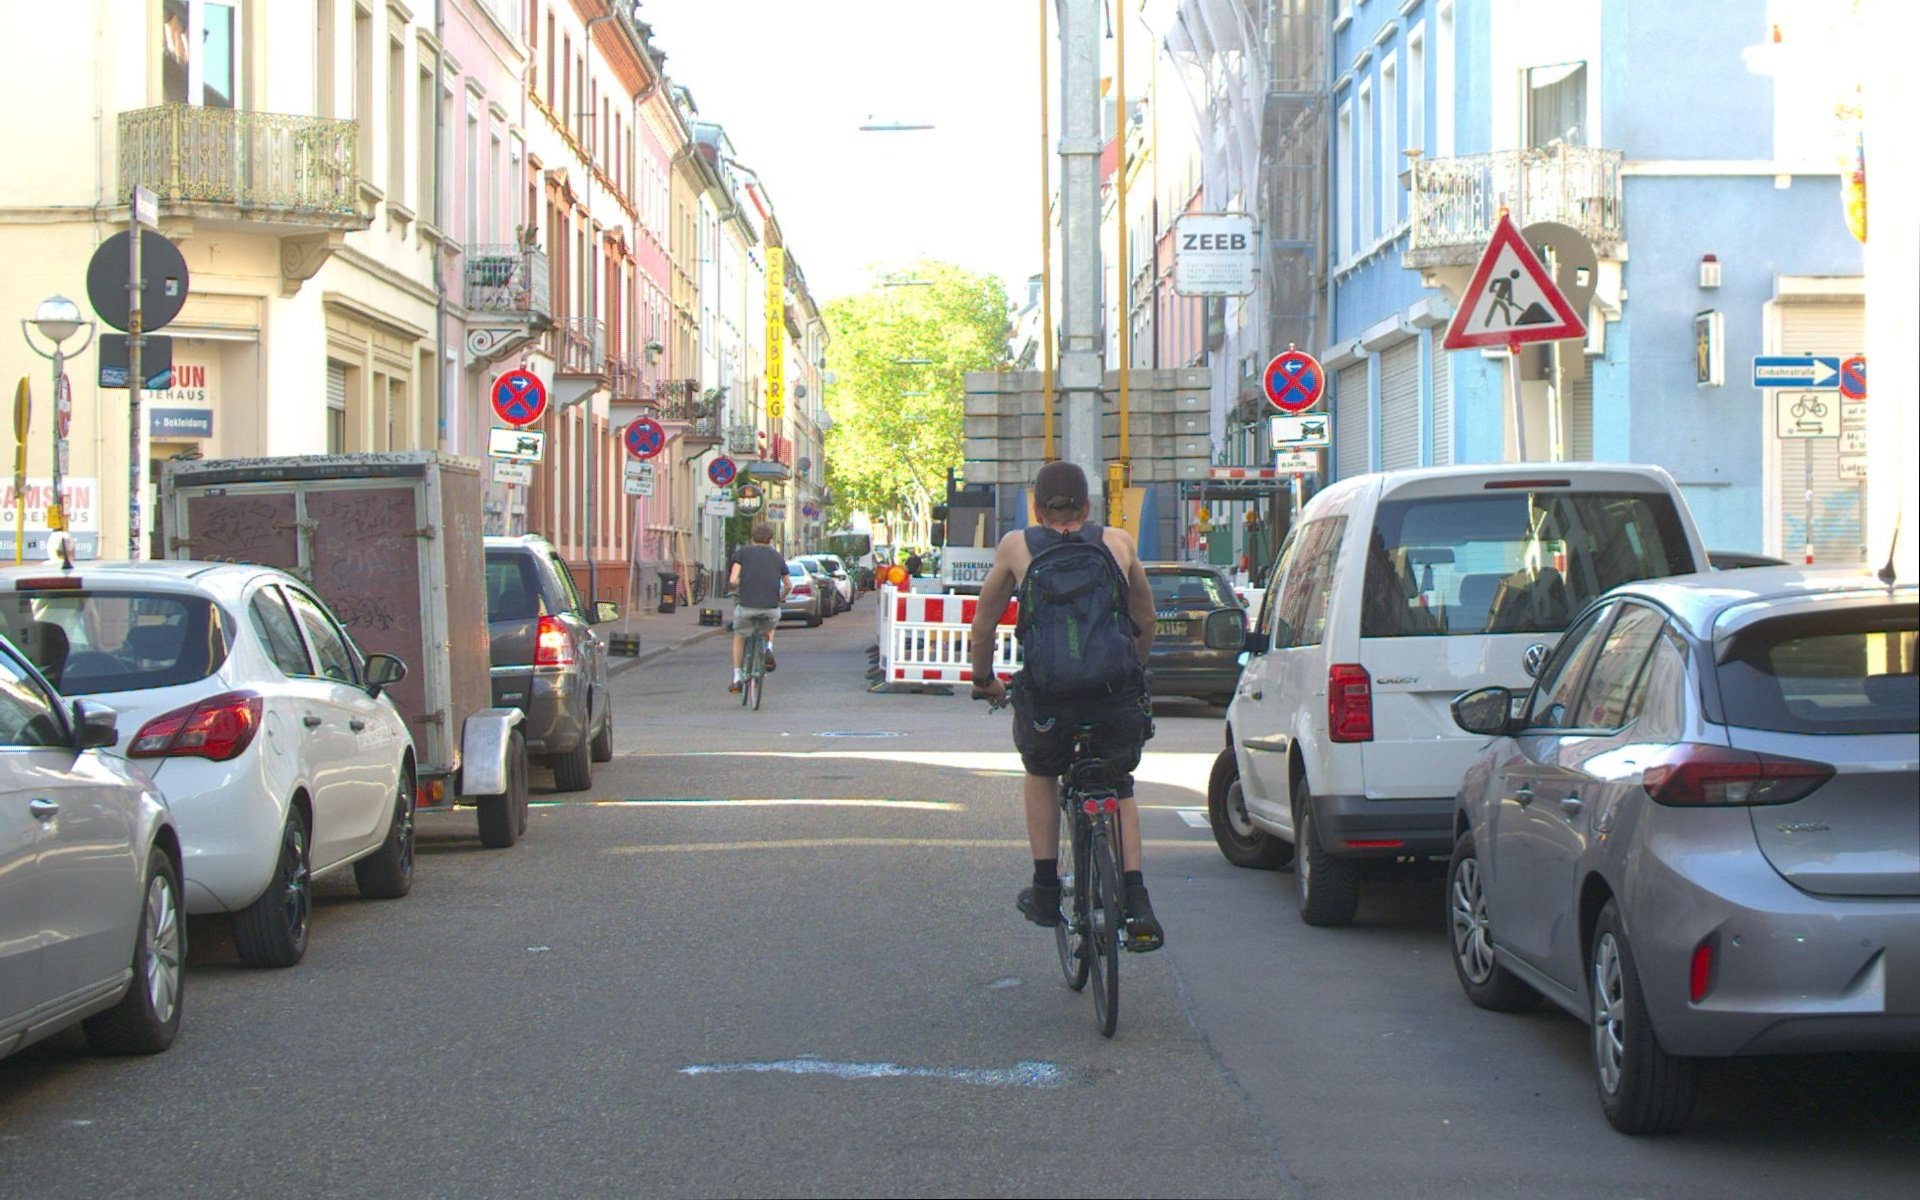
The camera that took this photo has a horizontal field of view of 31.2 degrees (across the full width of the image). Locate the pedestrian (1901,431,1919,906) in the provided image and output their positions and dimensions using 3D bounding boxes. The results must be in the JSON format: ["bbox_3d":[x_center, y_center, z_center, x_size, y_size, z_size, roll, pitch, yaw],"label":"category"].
[{"bbox_3d":[4.381,0.292,14.364,0.644,2.007,0.764,1,0,-1],"label":"pedestrian"}]

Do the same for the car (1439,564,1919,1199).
[{"bbox_3d":[2.509,0.644,9.935,1.750,1.481,3.799,-1,0,1],"label":"car"}]

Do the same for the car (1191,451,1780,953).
[{"bbox_3d":[2.126,0.376,14.997,1.750,1.872,3.973,-1,0,-3],"label":"car"}]

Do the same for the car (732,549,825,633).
[{"bbox_3d":[-3.754,-0.185,71.615,1.750,1.678,3.796,-1,0,-1],"label":"car"}]

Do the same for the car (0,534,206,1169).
[{"bbox_3d":[-3.204,0.617,8.544,1.750,1.532,4.319,-1,0,-1],"label":"car"}]

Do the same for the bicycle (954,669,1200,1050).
[{"bbox_3d":[0.345,0.791,11.182,0.677,1.071,1.942,1,0,-1],"label":"bicycle"}]

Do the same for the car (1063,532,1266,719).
[{"bbox_3d":[1.865,0.216,32.311,1.611,1.628,3.610,1,0,-1],"label":"car"}]

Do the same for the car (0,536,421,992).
[{"bbox_3d":[-3.205,0.552,13.450,1.653,1.532,3.634,-1,0,-1],"label":"car"}]

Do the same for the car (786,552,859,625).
[{"bbox_3d":[-3.531,-0.300,88.629,1.750,1.815,3.796,-1,0,-1],"label":"car"}]

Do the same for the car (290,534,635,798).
[{"bbox_3d":[-3.180,0.389,22.638,1.750,1.567,3.796,-1,0,-1],"label":"car"}]

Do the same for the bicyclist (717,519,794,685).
[{"bbox_3d":[-1.966,0.016,33.100,0.671,1.562,0.716,1,0,-1],"label":"bicyclist"}]

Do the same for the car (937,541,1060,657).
[{"bbox_3d":[0.510,-0.024,48.663,1.611,1.555,3.610,1,0,-1],"label":"car"}]

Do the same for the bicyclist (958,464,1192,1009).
[{"bbox_3d":[0.354,0.419,11.155,0.667,1.671,1.097,1,0,-1],"label":"bicyclist"}]

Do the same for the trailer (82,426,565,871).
[{"bbox_3d":[-3.235,0.220,18.193,1.882,2.085,3.737,-1,0,-1],"label":"trailer"}]

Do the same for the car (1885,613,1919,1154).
[{"bbox_3d":[2.518,0.714,4.061,1.646,1.470,3.971,-4,0,-1],"label":"car"}]

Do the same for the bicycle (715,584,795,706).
[{"bbox_3d":[-1.959,0.413,33.069,0.648,1.126,2.136,1,0,-1],"label":"bicycle"}]

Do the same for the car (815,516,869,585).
[{"bbox_3d":[-4.038,-1.687,117.838,1.750,2.310,3.796,-1,0,-1],"label":"car"}]
